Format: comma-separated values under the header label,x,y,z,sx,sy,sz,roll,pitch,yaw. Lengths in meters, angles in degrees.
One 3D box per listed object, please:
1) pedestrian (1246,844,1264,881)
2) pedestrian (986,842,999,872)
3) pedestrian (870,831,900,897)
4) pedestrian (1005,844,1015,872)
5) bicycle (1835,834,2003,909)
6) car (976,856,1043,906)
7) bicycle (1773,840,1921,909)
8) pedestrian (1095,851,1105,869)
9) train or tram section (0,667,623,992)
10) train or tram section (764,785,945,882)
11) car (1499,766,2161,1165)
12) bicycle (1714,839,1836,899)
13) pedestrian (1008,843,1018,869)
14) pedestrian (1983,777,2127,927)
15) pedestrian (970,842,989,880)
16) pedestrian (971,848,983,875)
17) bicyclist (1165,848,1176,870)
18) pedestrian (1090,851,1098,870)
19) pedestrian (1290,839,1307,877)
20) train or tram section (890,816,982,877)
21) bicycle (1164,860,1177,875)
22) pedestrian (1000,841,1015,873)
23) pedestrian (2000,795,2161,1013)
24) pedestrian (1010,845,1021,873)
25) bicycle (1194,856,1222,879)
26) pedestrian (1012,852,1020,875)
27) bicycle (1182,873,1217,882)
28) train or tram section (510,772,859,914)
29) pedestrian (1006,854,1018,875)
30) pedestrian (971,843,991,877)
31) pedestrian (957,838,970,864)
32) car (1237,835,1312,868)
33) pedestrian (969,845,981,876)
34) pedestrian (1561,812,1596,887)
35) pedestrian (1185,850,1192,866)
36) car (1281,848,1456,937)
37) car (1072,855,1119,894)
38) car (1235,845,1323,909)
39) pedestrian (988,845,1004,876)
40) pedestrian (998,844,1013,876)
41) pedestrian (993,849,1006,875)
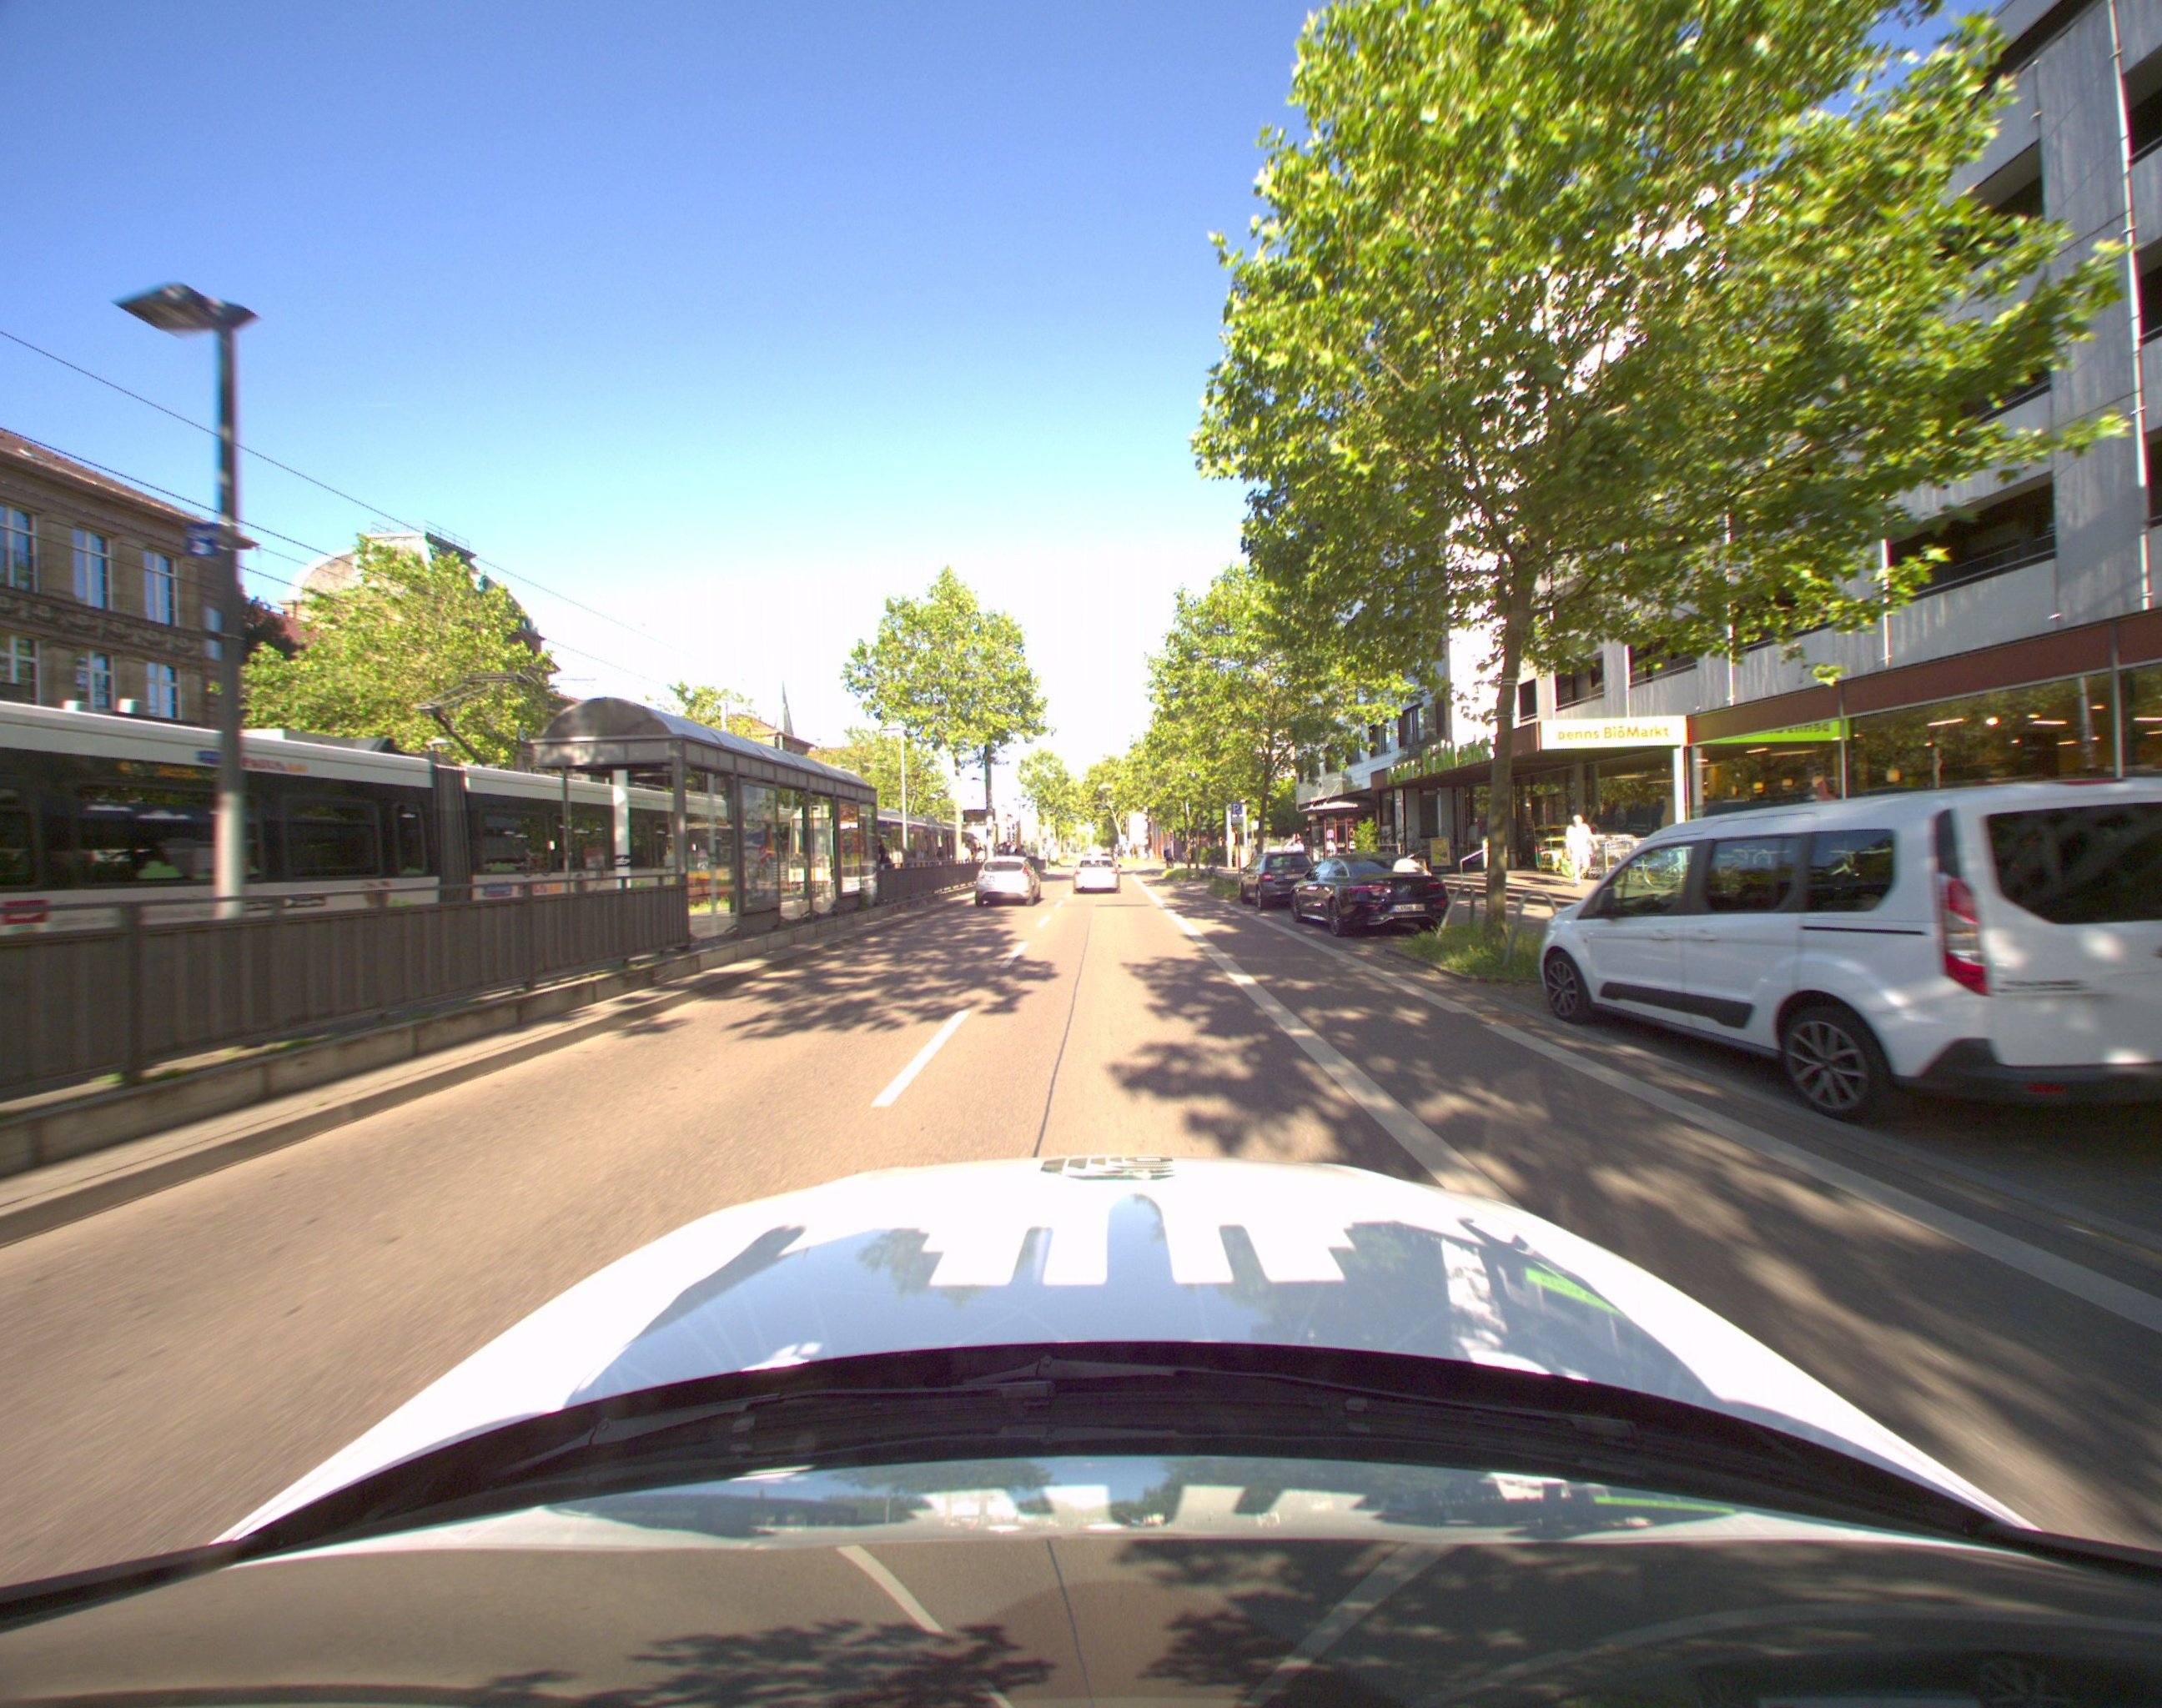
label,x,y,z,sx,sy,sz,roll,pitch,yaw
pedestrian,8.188,0.404,38.327,0.558,1.704,1.052,-2,0,1
pedestrian,-4.957,0.165,45.817,0.631,1.702,0.746,-2,0,-2
pedestrian,-4.930,0.248,20.523,0.564,1.640,0.622,-1,0,3
pedestrian,-4.270,0.241,49.084,0.504,1.702,0.611,-2,0,-2
bicycle,13.028,0.278,12.723,1.683,1.055,0.589,-4,0,28
car,-2.109,0.783,24.751,1.655,1.409,3.632,0,-1,1
bicycle,12.887,0.356,13.760,1.683,1.055,0.589,-4,1,28
pedestrian,1.663,0.502,71.028,0.824,1.575,0.741,-1,-1,9
train or tram section,-12.776,-0.251,10.460,2.860,3.434,18.284,0,0,2
train or tram section,-8.970,-0.541,35.425,2.903,3.260,15.897,0,-1,2
car,5.001,0.487,5.911,1.757,1.792,4.395,-2,0,2
bicycle,13.393,0.299,15.776,1.683,1.055,0.589,-3,2,28
pedestrian,-4.516,0.133,54.162,0.546,1.734,0.539,-2,0,-3
pedestrian,11.595,-0.019,9.728,0.555,1.678,0.882,-4,-1,1
pedestrian,-4.729,0.330,37.995,0.773,1.752,0.723,-2,0,-2
pedestrian,-5.852,0.411,45.999,0.543,1.519,0.531,-2,0,1
bicyclist,6.836,0.392,62.207,0.654,1.657,0.767,-2,0,10
pedestrian,1.091,0.580,69.954,0.637,1.619,0.641,-2,-3,-1
pedestrian,10.265,0.202,38.448,0.558,1.744,0.879,-2,0,1
train or tram section,-8.505,-0.272,49.955,2.903,3.260,13.116,0,-1,2
bicycle,6.835,1.005,62.202,0.826,1.041,1.880,-2,0,10
pedestrian,-4.023,0.172,44.719,0.658,1.696,0.571,-2,0,2
pedestrian,8.211,0.359,6.497,0.695,1.612,0.869,-4,0,3
pedestrian,-4.111,0.330,51.121,0.548,1.734,0.537,-2,0,-13
bicycle,6.413,0.678,41.101,0.788,1.133,1.839,-2,0,-11
pedestrian,-3.727,0.557,46.676,0.414,1.316,0.507,-2,0,0
bicycle,6.066,1.195,41.804,1.602,0.353,1.389,-2,0,1
train or tram section,-12.094,-0.270,28.823,2.838,3.434,18.223,0,0,2
pedestrian,-3.845,0.584,45.536,0.543,1.192,0.531,-2,0,1
pedestrian,-4.484,0.262,36.672,0.773,1.510,0.751,-2,0,-2
pedestrian,-5.811,-0.147,40.243,0.532,1.299,0.604,-2,0,-2
car,13.924,-0.175,58.812,4.879,1.984,1.914,-4,0,1
pedestrian,-6.005,0.362,46.136,0.607,1.702,0.545,-2,0,-3
pedestrian,11.872,-0.118,19.445,0.605,1.715,0.617,-4,2,29
pedestrian,10.875,0.416,82.424,0.622,1.629,0.946,-1,-1,10
car,5.238,0.632,15.530,1.755,1.418,4.701,-1,0,1
car,0.564,0.748,31.793,1.724,1.390,3.841,0,1,1
car,5.323,0.580,22.328,1.559,1.550,4.002,-1,0,2
pedestrian,-4.457,0.346,42.760,0.658,1.634,0.571,-2,0,2
pedestrian,-4.049,0.314,43.537,0.658,1.696,0.571,-2,0,2
pedestrian,-3.993,0.395,40.098,0.532,1.246,0.604,-2,0,0
